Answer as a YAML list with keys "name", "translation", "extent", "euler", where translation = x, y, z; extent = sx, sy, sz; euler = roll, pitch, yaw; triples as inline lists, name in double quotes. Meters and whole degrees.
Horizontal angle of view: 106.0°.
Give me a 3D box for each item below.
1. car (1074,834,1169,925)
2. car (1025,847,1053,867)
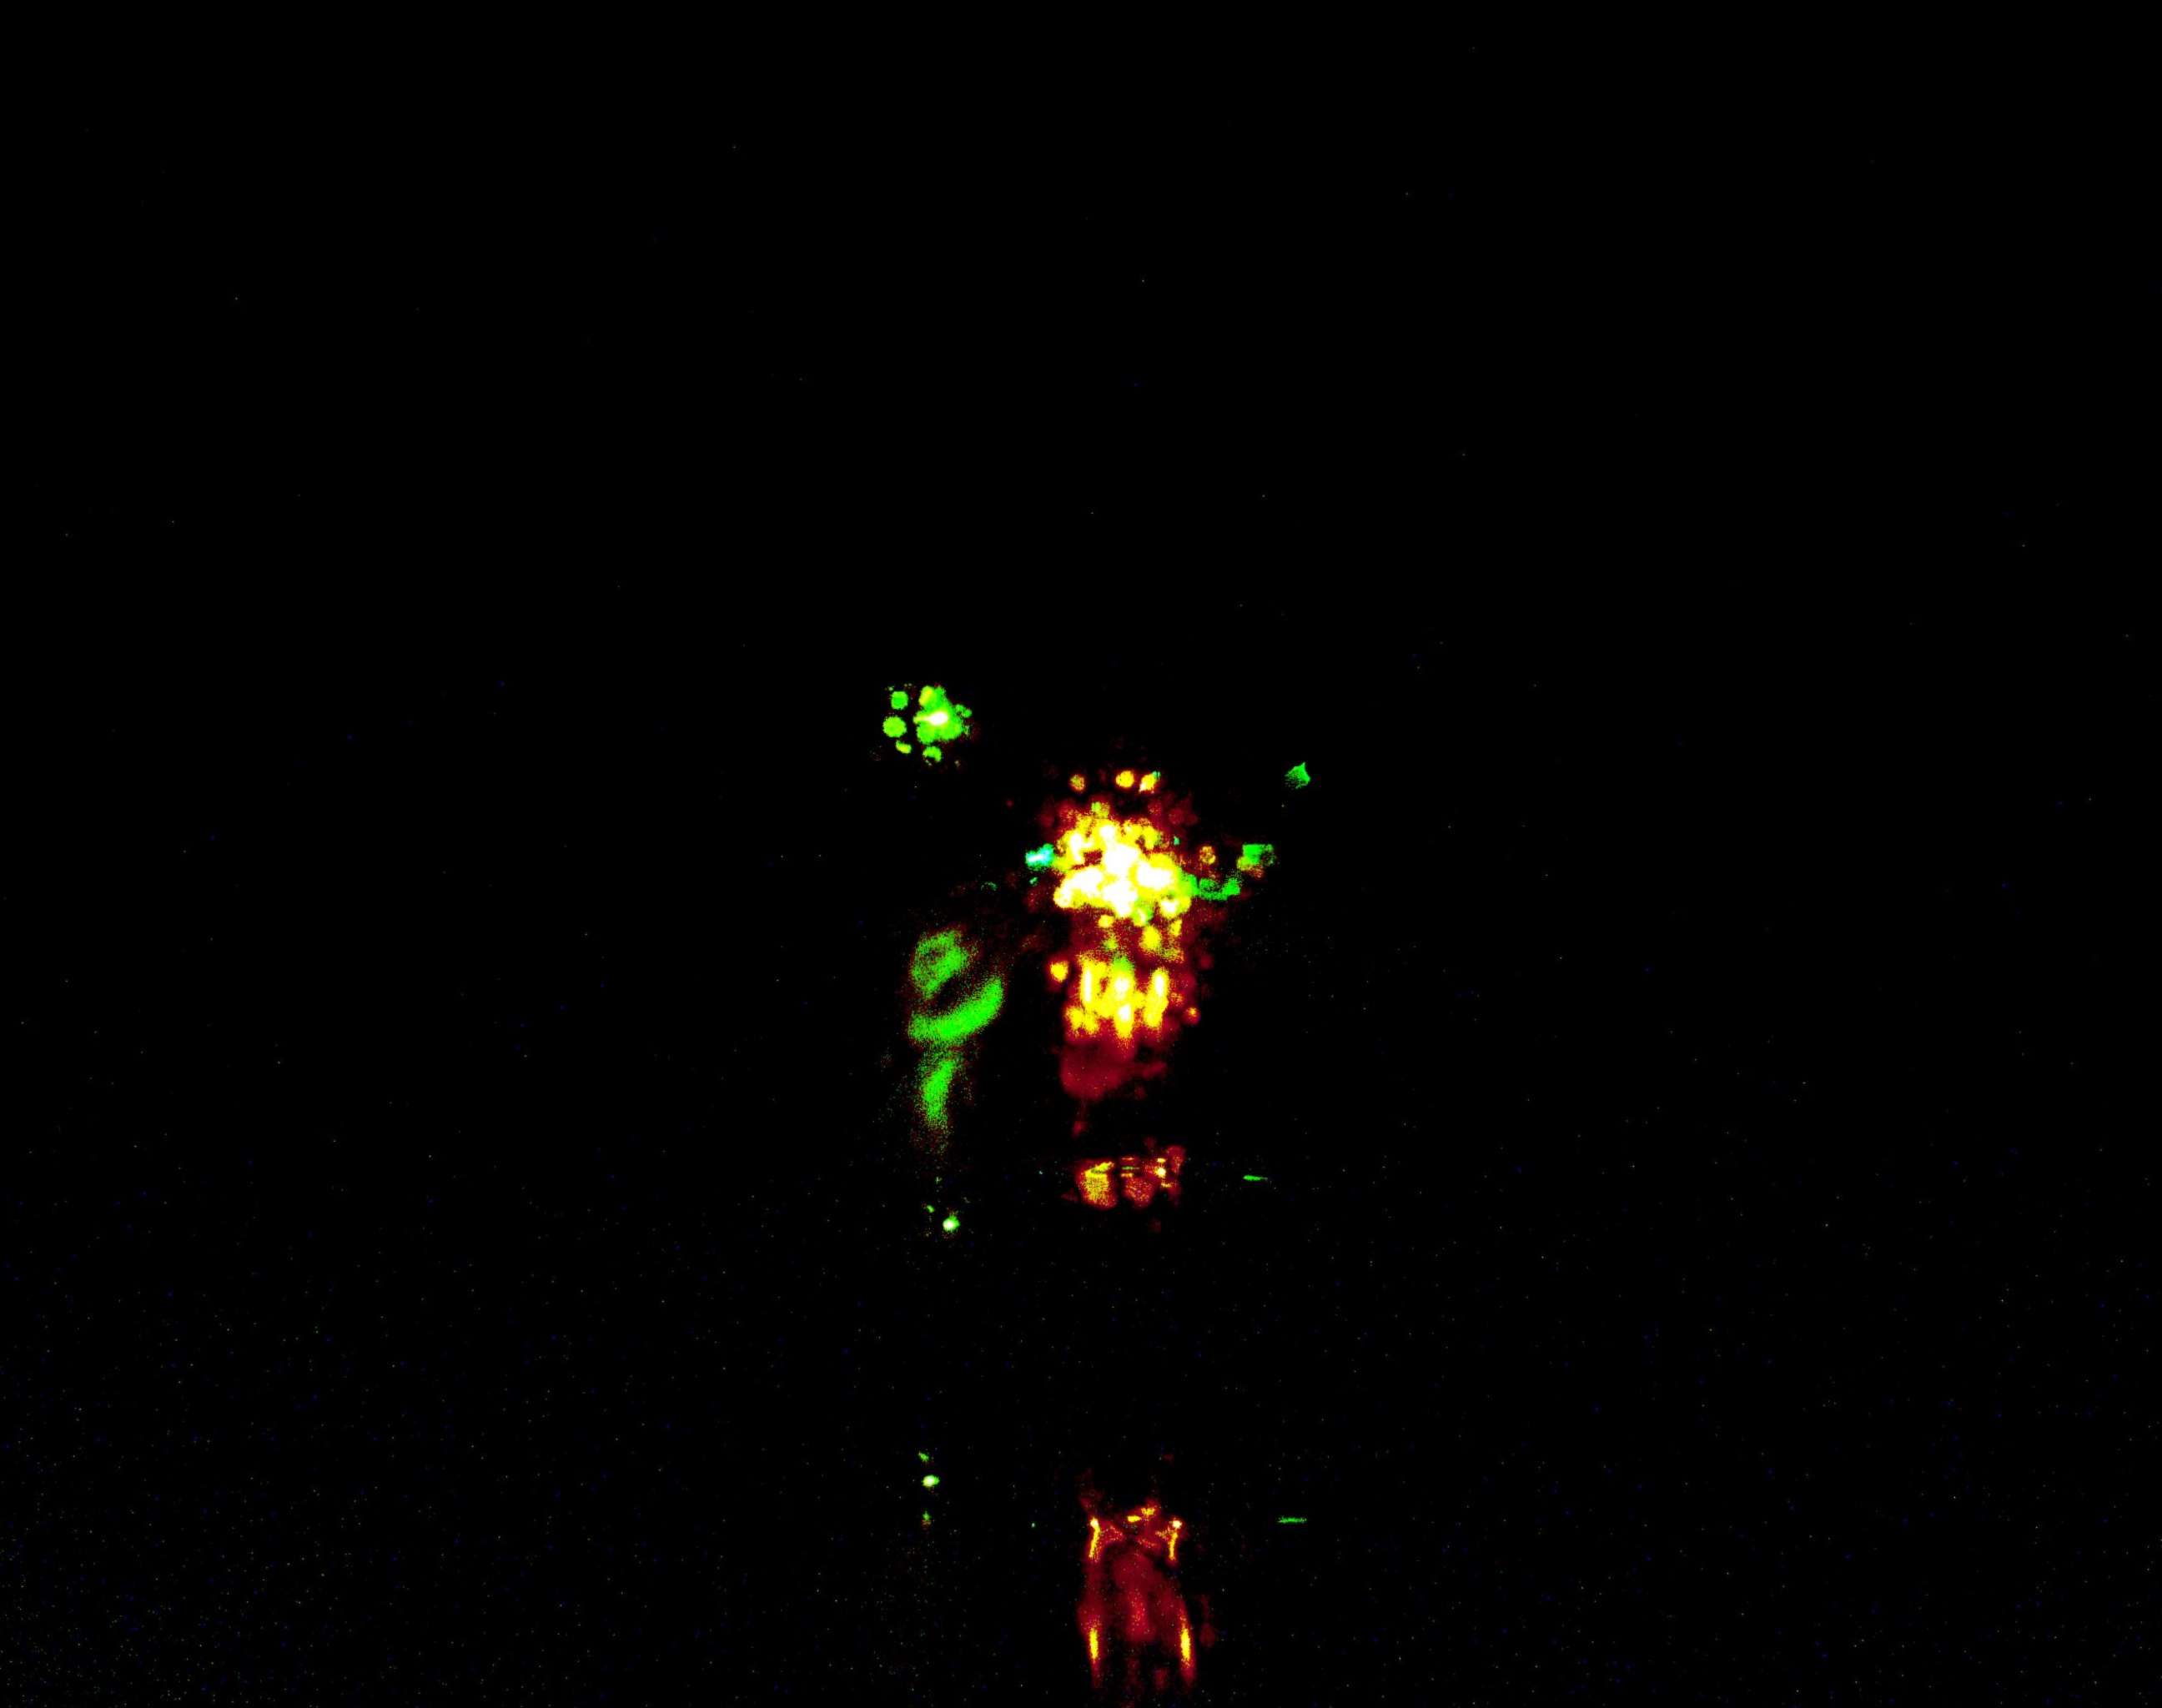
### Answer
- name: "car"
  translation: [0.923, 0.489, 17.700]
  extent: [1.783, 1.681, 3.909]
  euler: [-2, 0, 4]
- name: "car"
  translation: [-3.730, 0.277, 72.855]
  extent: [1.866, 1.545, 4.359]
  euler: [-4, -1, 3]
